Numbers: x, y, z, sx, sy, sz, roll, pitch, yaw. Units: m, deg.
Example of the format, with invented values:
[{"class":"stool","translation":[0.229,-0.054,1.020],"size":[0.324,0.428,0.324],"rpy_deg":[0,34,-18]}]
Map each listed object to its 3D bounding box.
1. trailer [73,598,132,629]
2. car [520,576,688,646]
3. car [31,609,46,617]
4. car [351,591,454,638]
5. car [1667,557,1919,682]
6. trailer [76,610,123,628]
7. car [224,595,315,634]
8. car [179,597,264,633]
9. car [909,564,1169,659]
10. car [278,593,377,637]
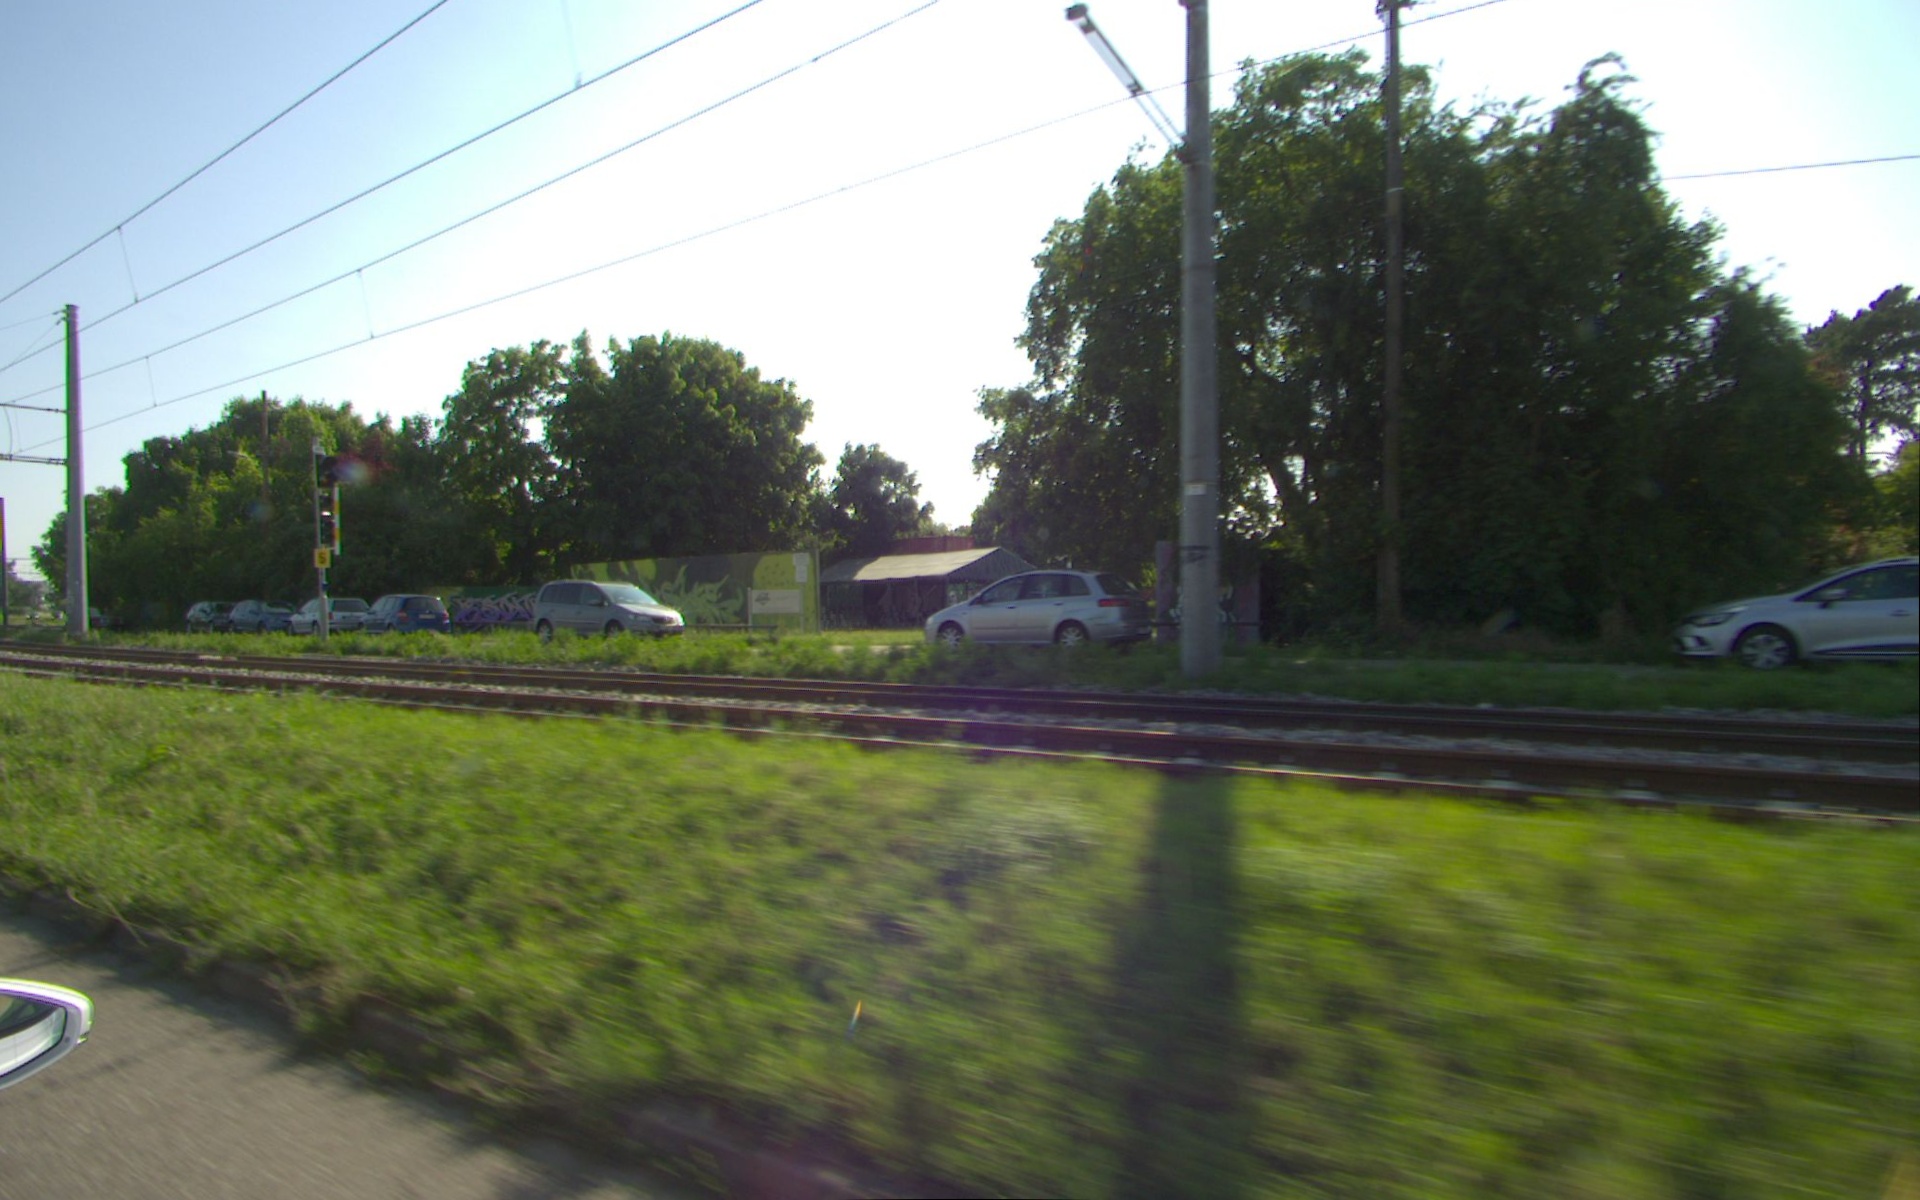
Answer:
[{"class":"trailer","translation":[-47.082,0.744,54.949],"size":[4.215,1.616,2.016],"rpy_deg":[-1,-3,44]},{"class":"car","translation":[-8.996,0.238,25.194],"size":[4.418,1.632,1.519],"rpy_deg":[0,1,31]},{"class":"car","translation":[-175.858,2.508,191.180],"size":[1.678,1.458,4.252],"rpy_deg":[1,-1,-36]},{"class":"car","translation":[-18.203,0.467,32.641],"size":[3.864,1.448,1.671],"rpy_deg":[0,-1,40]},{"class":"car","translation":[11.494,0.222,12.602],"size":[4.068,1.468,1.532],"rpy_deg":[0,1,30]},{"class":"trailer","translation":[-49.783,1.085,57.917],"size":[3.690,0.951,1.722],"rpy_deg":[-1,-3,45]},{"class":"car","translation":[-26.764,0.545,38.786],"size":[4.092,1.420,1.481],"rpy_deg":[0,0,33]},{"class":"car","translation":[-30.873,0.619,41.813],"size":[4.462,1.429,1.618],"rpy_deg":[0,-1,36]},{"class":"car","translation":[1.435,0.180,19.127],"size":[4.664,1.612,1.901],"rpy_deg":[0,1,36]},{"class":"car","translation":[-22.906,0.503,36.226],"size":[4.335,1.485,1.702],"rpy_deg":[0,1,39]}]
